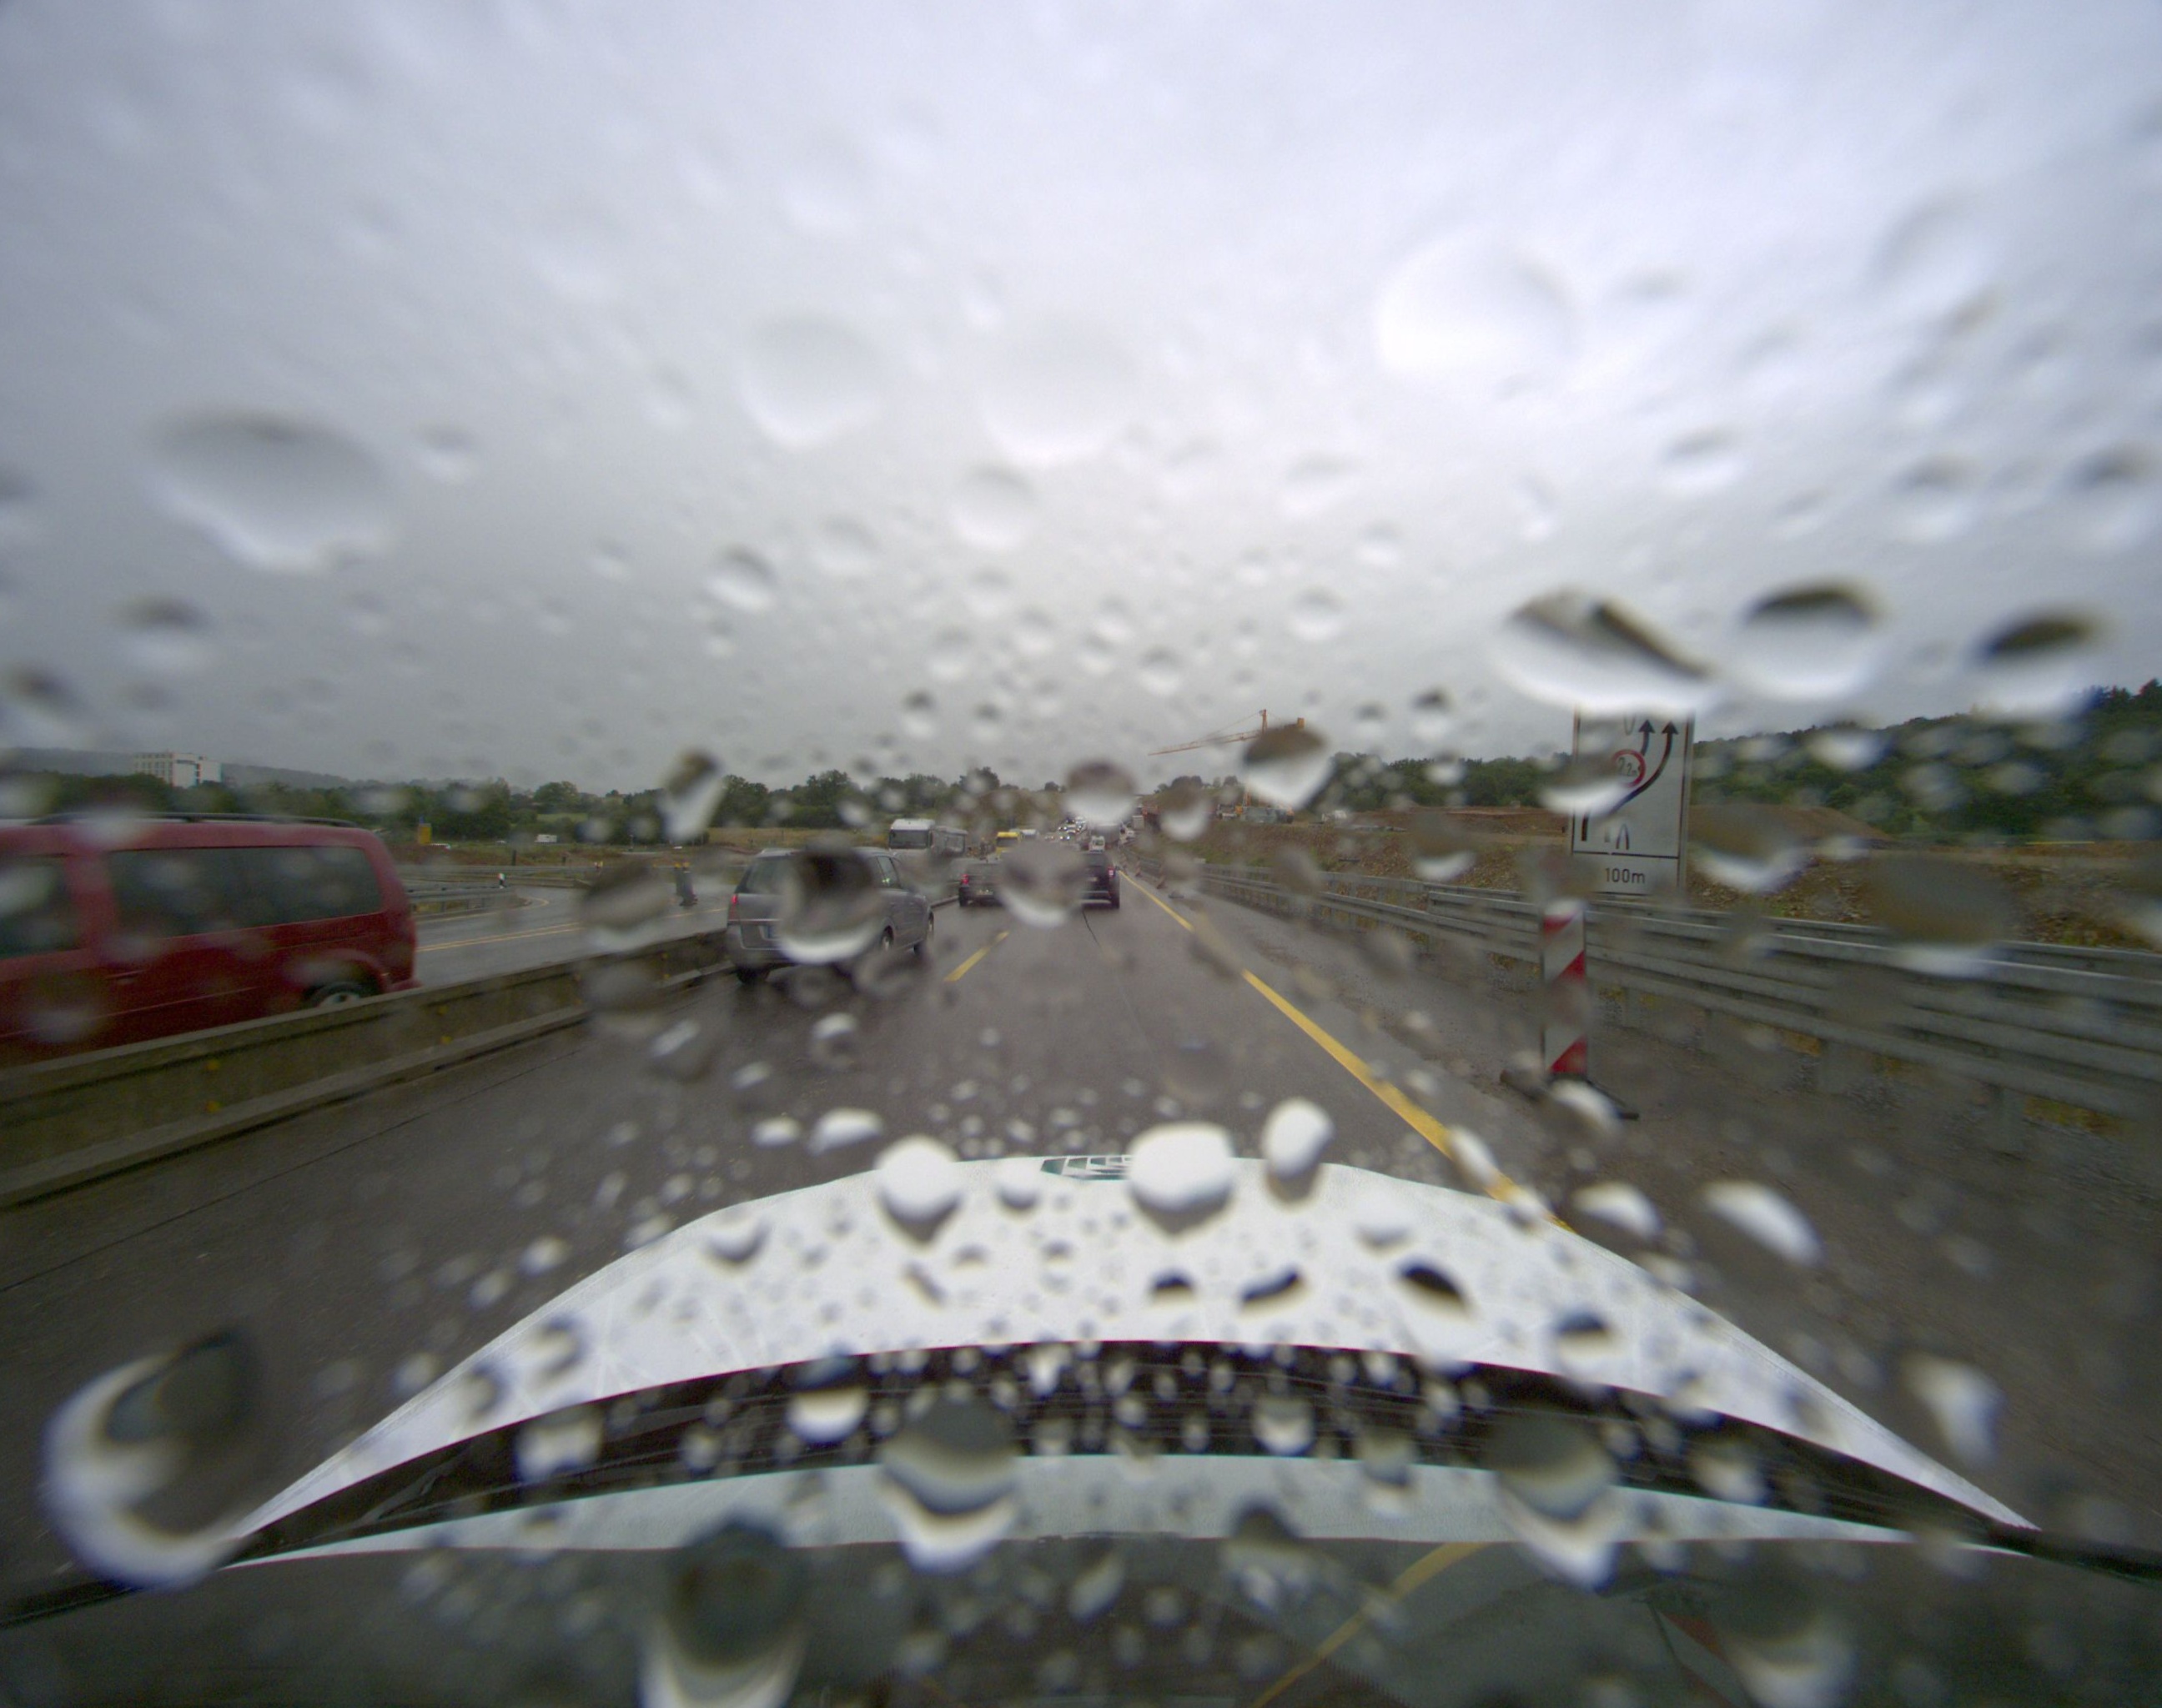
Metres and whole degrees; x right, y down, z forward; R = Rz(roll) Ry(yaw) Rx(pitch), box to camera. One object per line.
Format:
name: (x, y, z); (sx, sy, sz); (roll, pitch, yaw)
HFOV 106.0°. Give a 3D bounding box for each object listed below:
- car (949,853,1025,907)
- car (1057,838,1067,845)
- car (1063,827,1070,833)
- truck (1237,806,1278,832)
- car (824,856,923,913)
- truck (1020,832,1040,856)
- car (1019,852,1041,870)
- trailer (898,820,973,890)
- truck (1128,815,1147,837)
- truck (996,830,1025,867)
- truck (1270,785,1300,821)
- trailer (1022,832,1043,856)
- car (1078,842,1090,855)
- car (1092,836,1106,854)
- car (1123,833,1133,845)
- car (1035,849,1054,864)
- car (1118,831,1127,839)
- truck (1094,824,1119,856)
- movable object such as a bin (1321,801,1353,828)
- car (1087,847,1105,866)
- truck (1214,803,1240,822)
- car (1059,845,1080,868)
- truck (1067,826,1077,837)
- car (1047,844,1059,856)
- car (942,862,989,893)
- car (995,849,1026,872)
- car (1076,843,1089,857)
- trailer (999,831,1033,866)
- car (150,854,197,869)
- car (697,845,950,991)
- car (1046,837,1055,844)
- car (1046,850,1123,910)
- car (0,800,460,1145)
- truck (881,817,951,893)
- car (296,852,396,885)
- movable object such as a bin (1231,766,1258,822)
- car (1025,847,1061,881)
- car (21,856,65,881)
car: (-2.942, 0.778, 26.368); (1.987, 1.600, 4.139); (0, 0, -1)
car: (-3.978, -2.568, 170.923); (1.766, 1.504, 4.679); (-1, 1, 0)
car: (-3.831, -6.227, 212.223); (1.780, 1.538, 4.313); (-1, 1, 1)
truck: (21.442, -4.219, 99.576); (3.382, 2.875, 8.965); (0, 0, 2)
car: (-6.707, 0.919, 26.865); (1.986, 1.655, 4.471); (-2, 0, 1)
truck: (-7.968, -1.544, 128.298); (2.612, 3.677, 6.595); (0, 0, 0)
car: (-5.177, 0.698, 83.478); (1.781, 1.805, 5.190); (-2, 0, 1)
trailer: (-8.993, 0.032, 51.610); (2.676, 3.963, 9.821); (-2, 0, 1)
truck: (13.898, -6.712, 200.065); (3.791, 5.042, 12.921); (0, 0, 0)
truck: (-8.059, -0.633, 93.733); (2.740, 4.062, 6.149); (0, 0, 1)
truck: (25.733, -6.427, 103.083); (2.365, 4.218, 5.979); (0, 0, 0)
trailer: (-7.919, -1.576, 133.996); (2.612, 3.677, 12.003); (0, 0, 0)
car: (0.553, -0.961, 136.289); (1.986, 2.163, 4.142); (0, 0, 1)
car: (2.649, -1.294, 119.038); (1.985, 2.484, 4.986); (0, 0, 3)
car: (10.053, -3.217, 174.063); (1.986, 2.484, 4.743); (0, 0, 2)
car: (-4.307, 0.318, 97.127); (1.986, 1.759, 4.688); (0, 0, 1)
car: (10.120, -4.715, 199.119); (1.987, 2.013, 4.001); (-1, 2, 1)
truck: (4.531, -2.374, 142.014); (3.083, 5.426, 9.466); (0, 0, 9)
movable object such as a bin: (37.160, -5.678, 118.308); (2.335, 3.599, 6.555); (0, 0, -2)
car: (1.801, 0.320, 96.351); (1.986, 2.163, 4.142); (0, 0, 2)
truck: (21.626, -6.153, 121.226); (2.637, 2.554, 6.984); (0, 0, 0)
car: (-1.151, 0.249, 79.796); (1.988, 2.163, 4.137); (0, 0, -2)
truck: (-2.121, -5.242, 191.316); (2.071, 2.576, 5.962); (0, 0, 0)
car: (-4.490, -0.616, 130.715); (1.859, 1.800, 4.163); (0, 0, 0)
car: (-5.746, 1.151, 40.947); (1.703, 1.453, 4.001); (0, 0, 1)
car: (-5.521, 0.495, 64.681); (1.868, 1.792, 5.360); (-1, 0, 1)
car: (0.259, -0.585, 125.144); (1.986, 2.163, 4.142); (0, 0, 1)
trailer: (-7.892, -0.644, 101.334); (2.739, 4.042, 15.362); (0, 0, 1)
car: (-103.444, 0.859, 92.922); (1.854, 1.700, 5.002); (0, 0, -26)
car: (-3.162, 0.698, 11.008); (1.986, 1.600, 4.142); (0, 0, 2)
car: (-6.471, -2.886, 172.682); (1.782, 1.546, 4.000); (0, 1, 0)
car: (0.160, 0.694, 24.129); (2.073, 1.600, 4.142); (0, 0, 2)
car: (-6.424, 0.624, 4.738); (1.840, 1.748, 4.843); (-3, 1, 0)
truck: (-9.089, 0.036, 45.478); (2.676, 3.927, 5.274); (-2, 0, 1)
car: (-47.715, 0.925, 52.905); (4.995, 2.013, 2.280); (0, 0, 12)
movable object such as a bin: (33.929, -12.185, 168.613); (4.683, 10.841, 10.346); (0, 0, 15)
car: (-2.322, 0.604, 50.504); (1.987, 2.013, 3.893); (0, 0, 0)
car: (-88.459, 1.190, 69.451); (4.781, 2.062, 2.084); (0, 0, 40)
